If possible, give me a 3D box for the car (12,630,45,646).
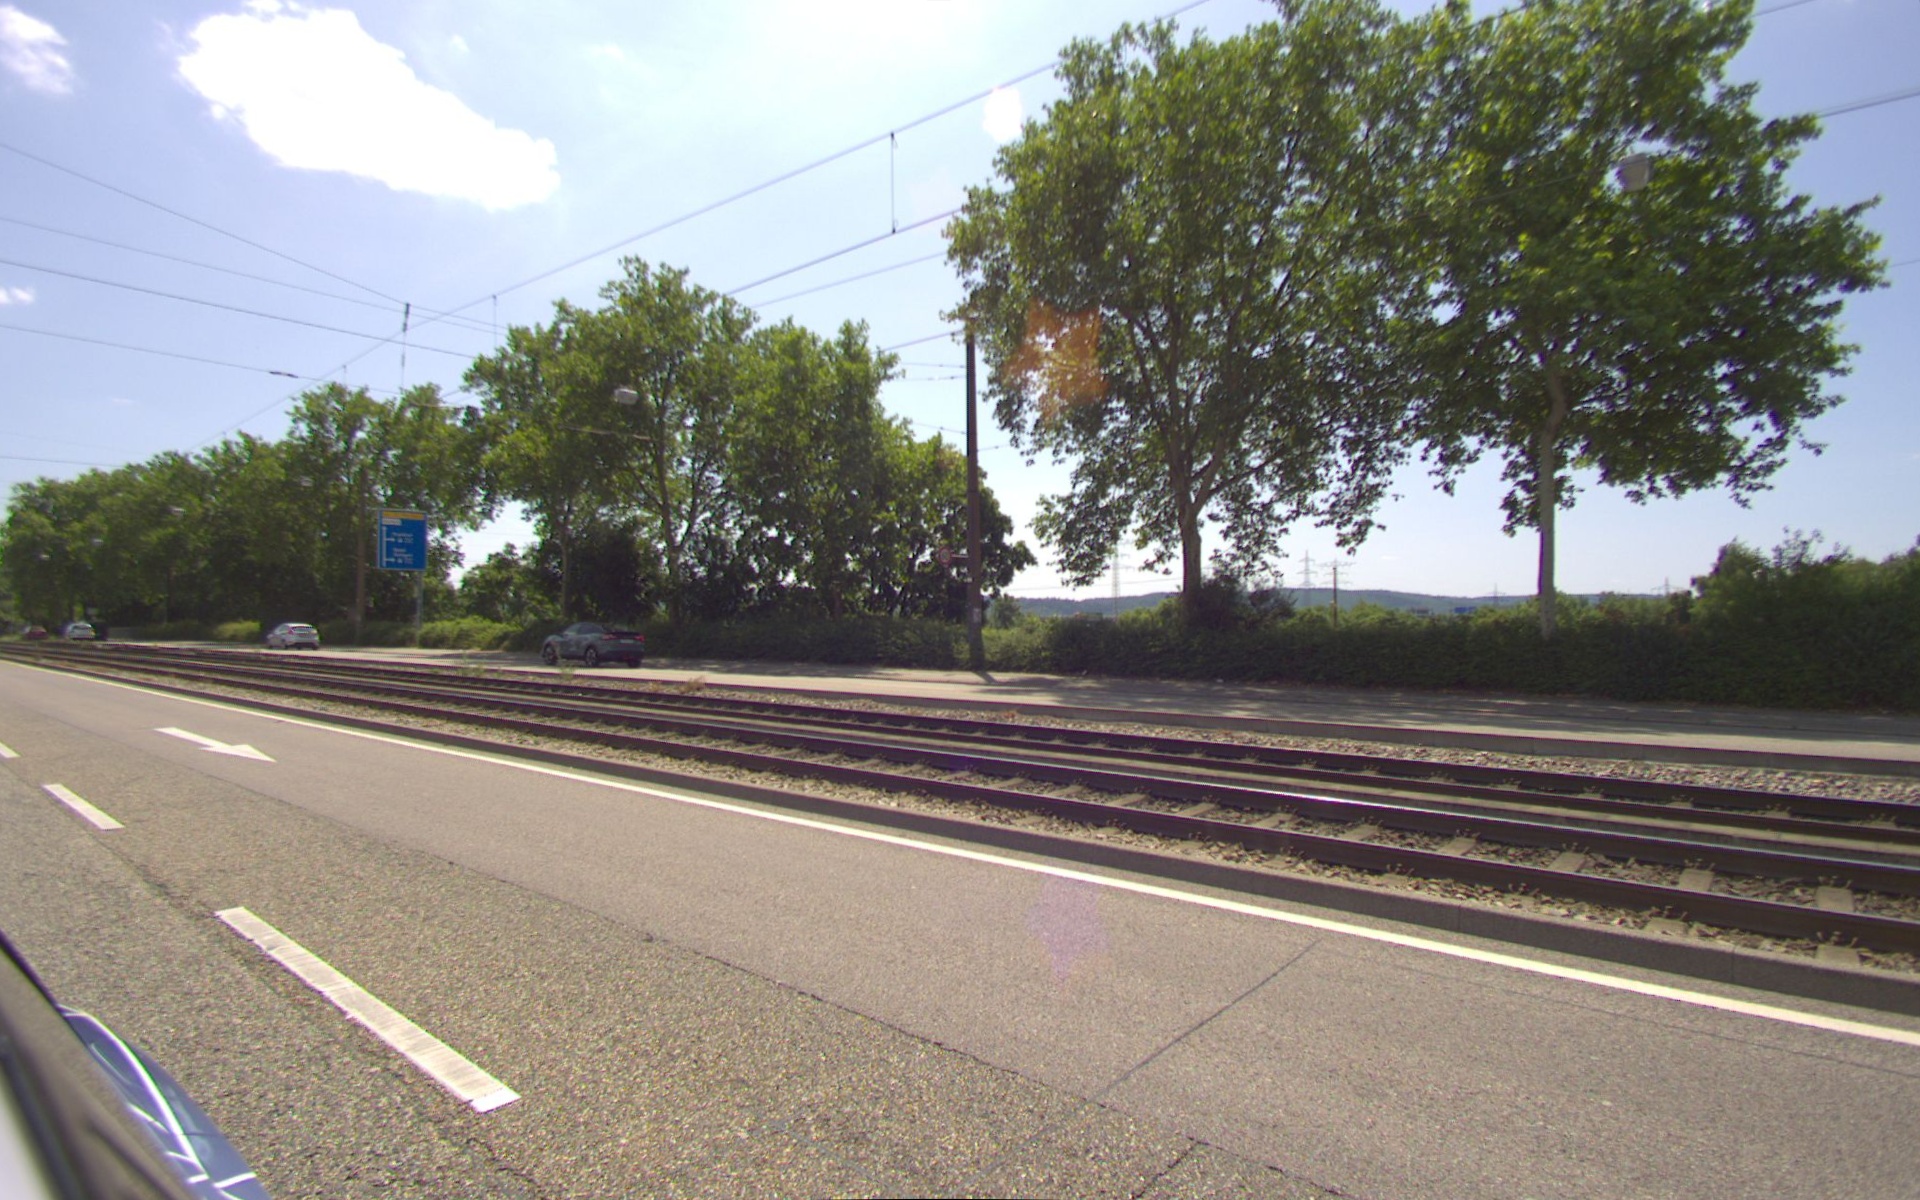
[{"bbox_3d":[-102.725,4.196,111.562,4.463,1.683,1.974,-2,-4,39],"label":"car"}]

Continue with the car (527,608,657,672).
[{"bbox_3d":[-12.547,1.334,34.421,4.402,1.932,1.975,1,-4,36],"label":"car"}]

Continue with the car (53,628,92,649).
[{"bbox_3d":[-71.236,3.103,81.184,4.055,1.596,1.668,-2,-5,40],"label":"car"}]

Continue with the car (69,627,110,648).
[{"bbox_3d":[-78.015,3.381,90.679,4.965,1.845,1.973,-2,-4,40],"label":"car"}]

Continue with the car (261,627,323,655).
[{"bbox_3d":[-36.649,2.252,55.520,3.881,1.427,1.803,-1,-4,41],"label":"car"}]
